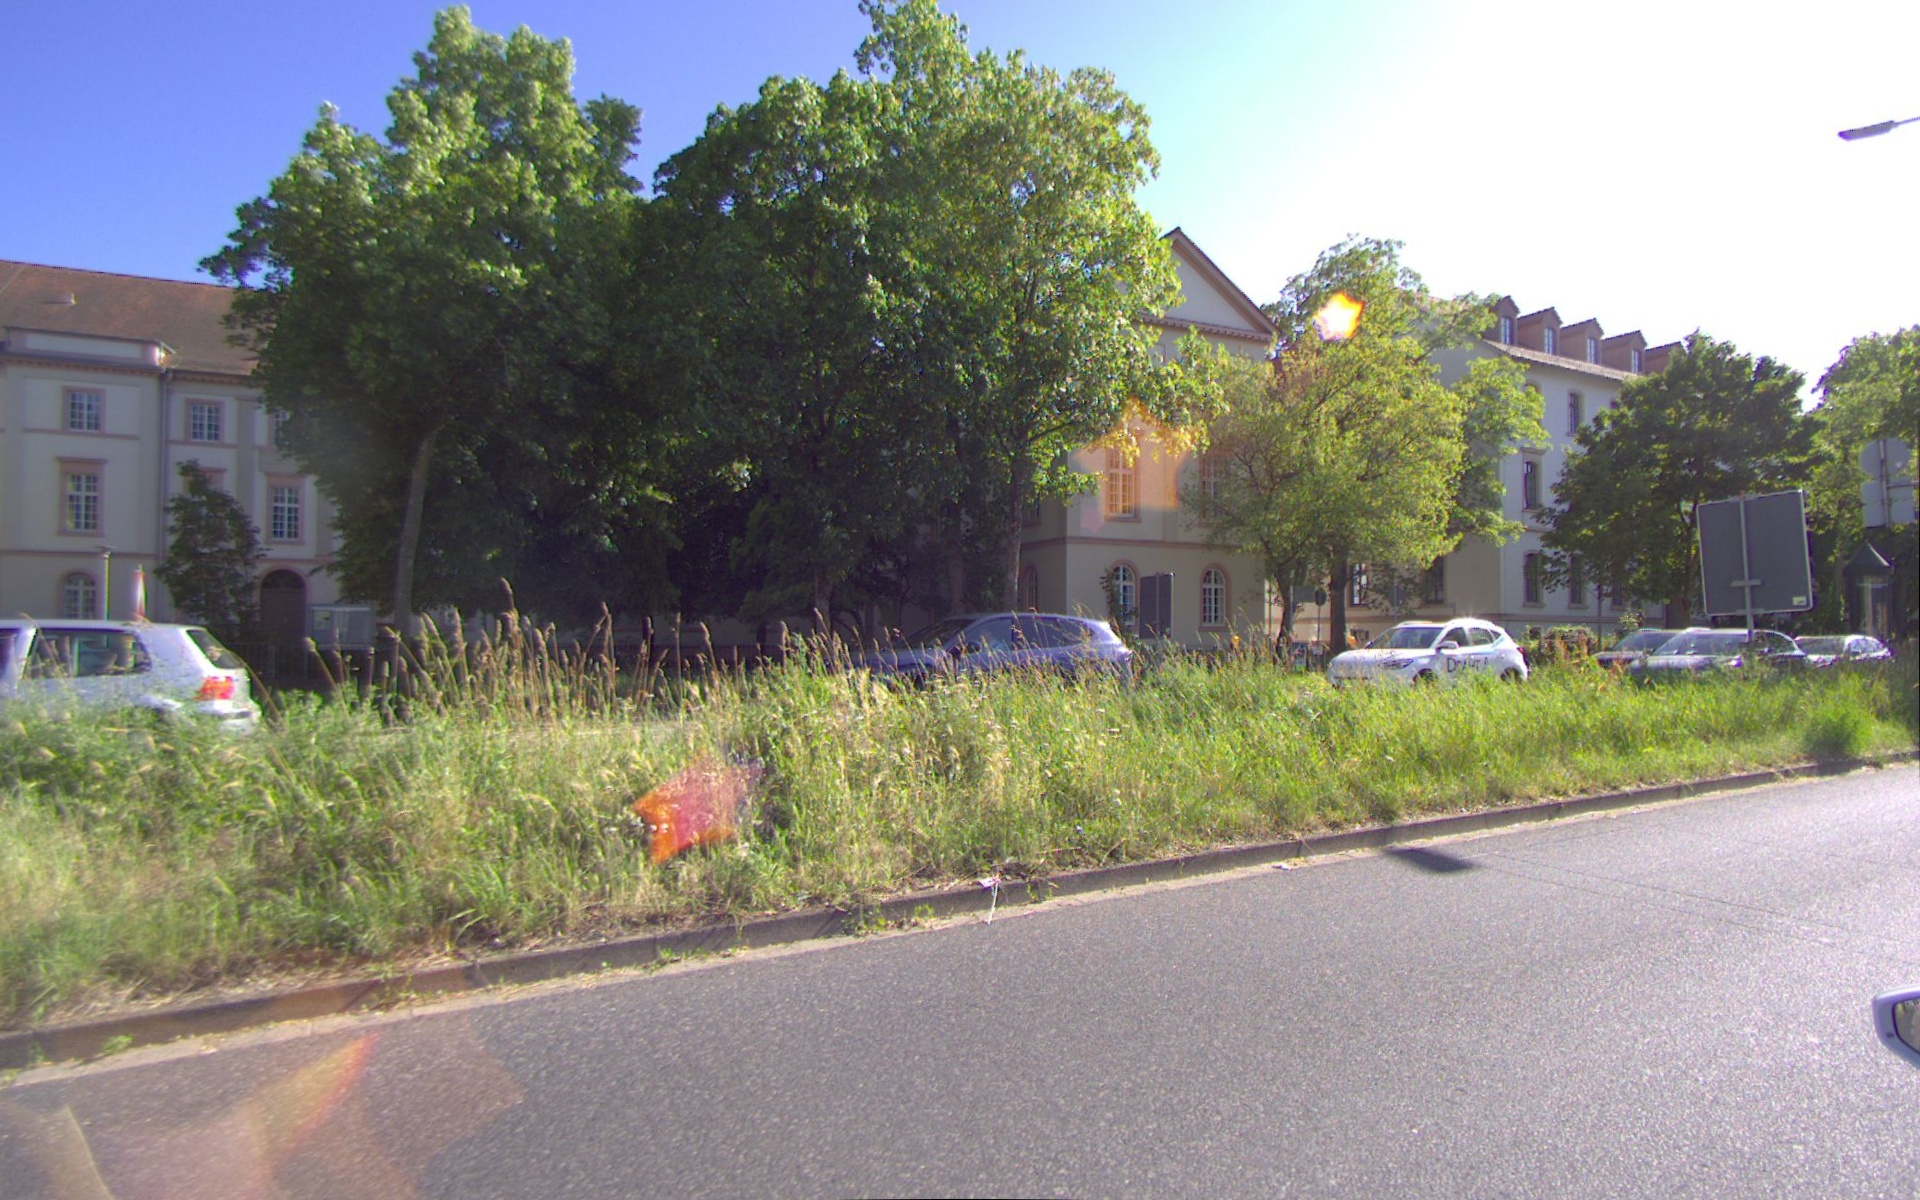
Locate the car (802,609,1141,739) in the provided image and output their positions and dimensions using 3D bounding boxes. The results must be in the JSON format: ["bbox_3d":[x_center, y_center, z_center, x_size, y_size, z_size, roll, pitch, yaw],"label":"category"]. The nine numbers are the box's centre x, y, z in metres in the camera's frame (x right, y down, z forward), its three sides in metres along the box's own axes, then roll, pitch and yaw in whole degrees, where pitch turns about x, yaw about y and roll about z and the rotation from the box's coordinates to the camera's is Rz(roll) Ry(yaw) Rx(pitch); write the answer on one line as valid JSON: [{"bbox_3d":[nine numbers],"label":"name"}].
[{"bbox_3d":[0.220,0.941,13.790,4.394,1.539,1.786,2,-2,-31],"label":"car"}]

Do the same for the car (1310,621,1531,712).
[{"bbox_3d":[8.752,1.195,19.010,4.210,1.539,1.786,1,-2,-31],"label":"car"}]

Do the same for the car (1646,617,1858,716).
[{"bbox_3d":[15.216,1.288,19.253,4.274,1.639,1.745,5,-2,-30],"label":"car"}]

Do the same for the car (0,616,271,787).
[{"bbox_3d":[-8.561,0.824,8.629,4.210,1.369,1.786,1,-2,-31],"label":"car"}]

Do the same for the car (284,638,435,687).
[{"bbox_3d":[-17.237,1.772,29.024,3.448,1.341,1.764,1,-2,-20],"label":"car"}]

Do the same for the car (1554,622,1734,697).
[{"bbox_3d":[15.736,1.374,23.063,4.209,1.539,1.787,3,-2,-30],"label":"car"}]

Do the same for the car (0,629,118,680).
[{"bbox_3d":[-31.400,1.802,33.604,4.632,1.511,1.634,5,-3,-30],"label":"car"}]

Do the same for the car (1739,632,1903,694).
[{"bbox_3d":[22.998,1.632,26.800,4.609,1.539,1.831,1,-2,-29],"label":"car"}]
